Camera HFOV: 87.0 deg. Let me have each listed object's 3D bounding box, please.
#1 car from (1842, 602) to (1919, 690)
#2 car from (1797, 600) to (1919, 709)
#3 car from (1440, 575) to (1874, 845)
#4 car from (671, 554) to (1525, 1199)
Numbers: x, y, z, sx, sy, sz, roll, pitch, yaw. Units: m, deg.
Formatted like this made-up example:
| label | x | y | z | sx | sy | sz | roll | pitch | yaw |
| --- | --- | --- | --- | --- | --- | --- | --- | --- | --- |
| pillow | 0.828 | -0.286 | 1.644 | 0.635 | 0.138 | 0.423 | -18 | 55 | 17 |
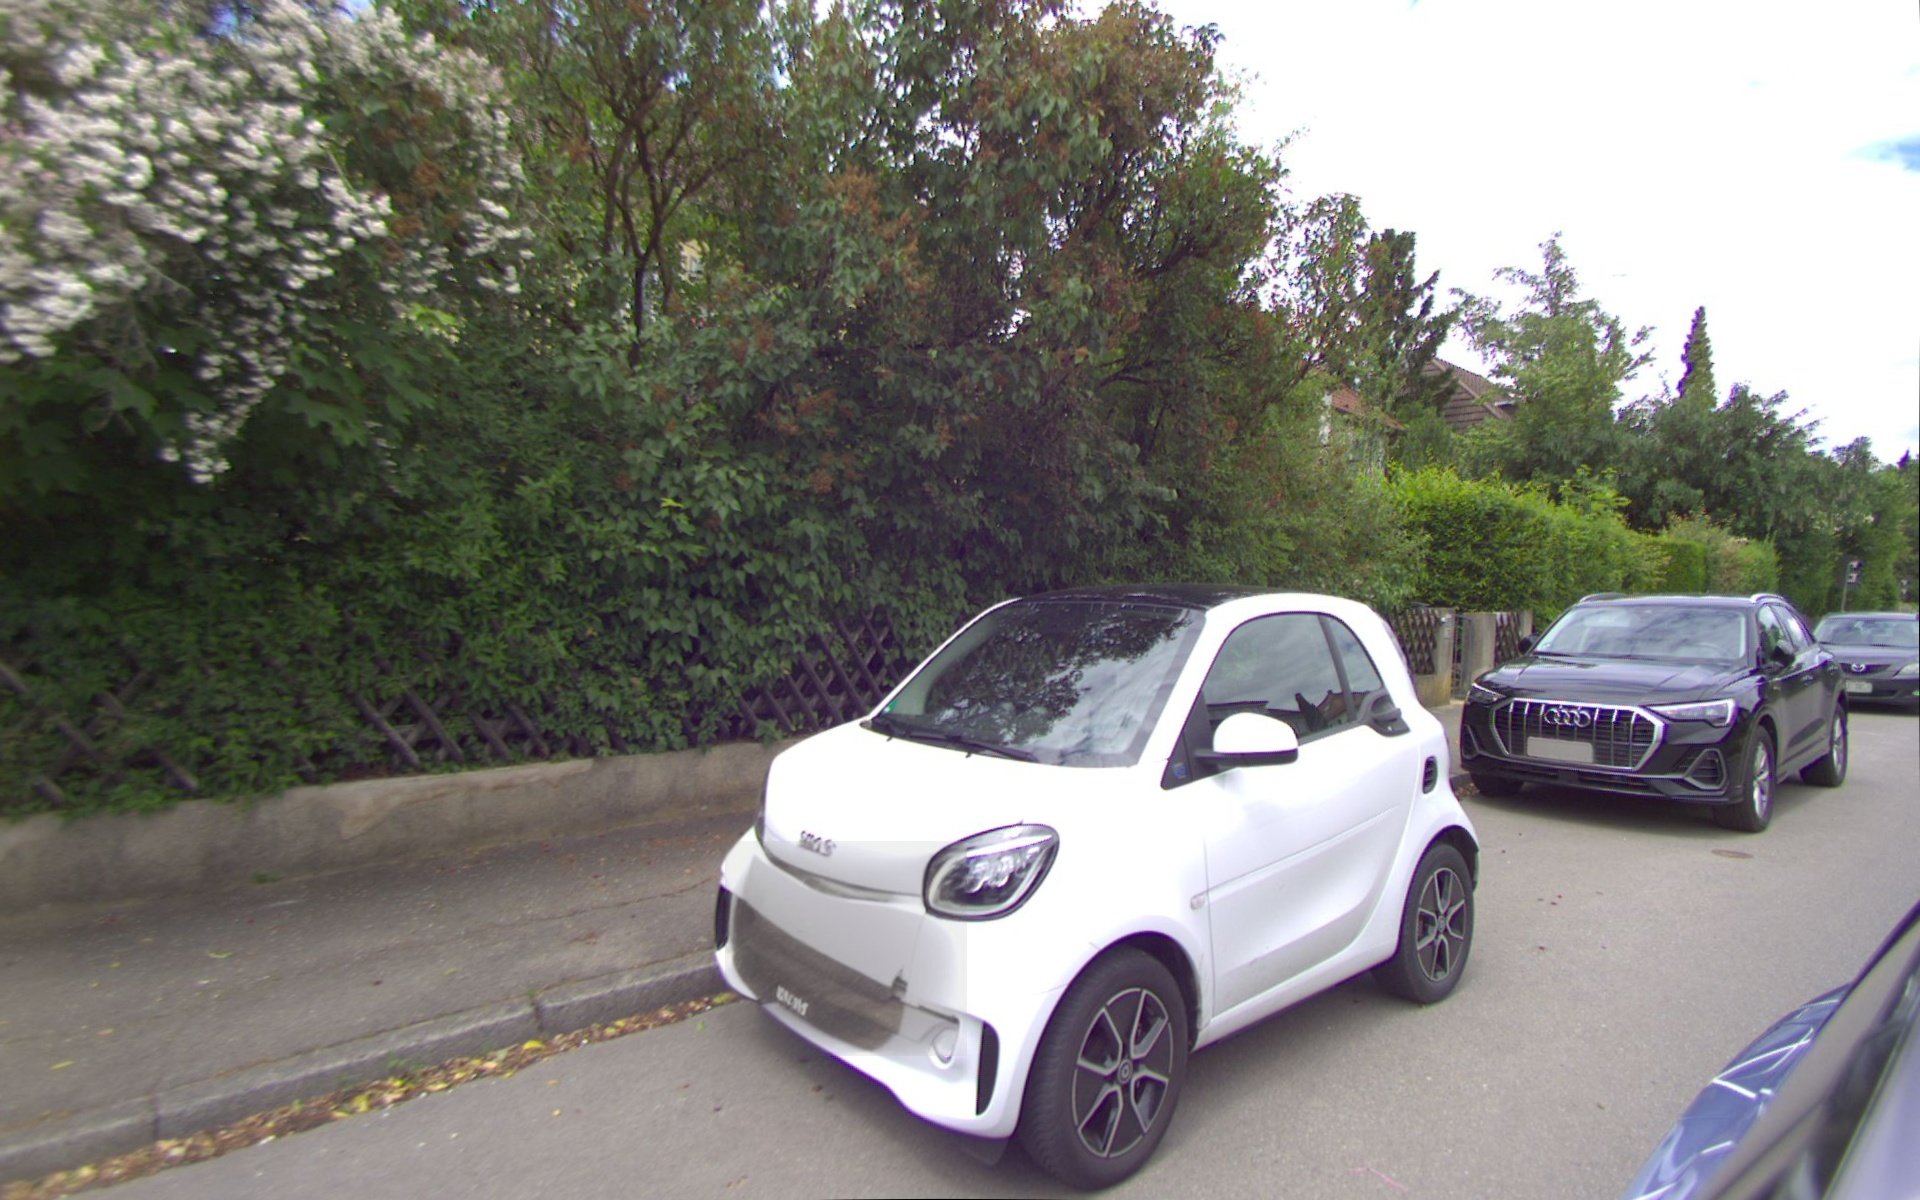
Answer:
| label | x | y | z | sx | sy | sz | roll | pitch | yaw |
| --- | --- | --- | --- | --- | --- | --- | --- | --- | --- |
| car | 18.017 | 0.819 | 19.031 | 4.284 | 1.496 | 1.758 | 1 | 0 | -43 |
| car | 14.405 | 0.778 | 15.725 | 4.072 | 1.479 | 1.718 | 1 | 0 | -44 |
| car | 5.676 | 0.639 | 8.055 | 4.067 | 1.612 | 1.805 | 0 | 1 | -40 |
| car | 0.665 | 0.663 | 3.790 | 2.960 | 1.529 | 1.602 | 1 | 0 | -40 |
